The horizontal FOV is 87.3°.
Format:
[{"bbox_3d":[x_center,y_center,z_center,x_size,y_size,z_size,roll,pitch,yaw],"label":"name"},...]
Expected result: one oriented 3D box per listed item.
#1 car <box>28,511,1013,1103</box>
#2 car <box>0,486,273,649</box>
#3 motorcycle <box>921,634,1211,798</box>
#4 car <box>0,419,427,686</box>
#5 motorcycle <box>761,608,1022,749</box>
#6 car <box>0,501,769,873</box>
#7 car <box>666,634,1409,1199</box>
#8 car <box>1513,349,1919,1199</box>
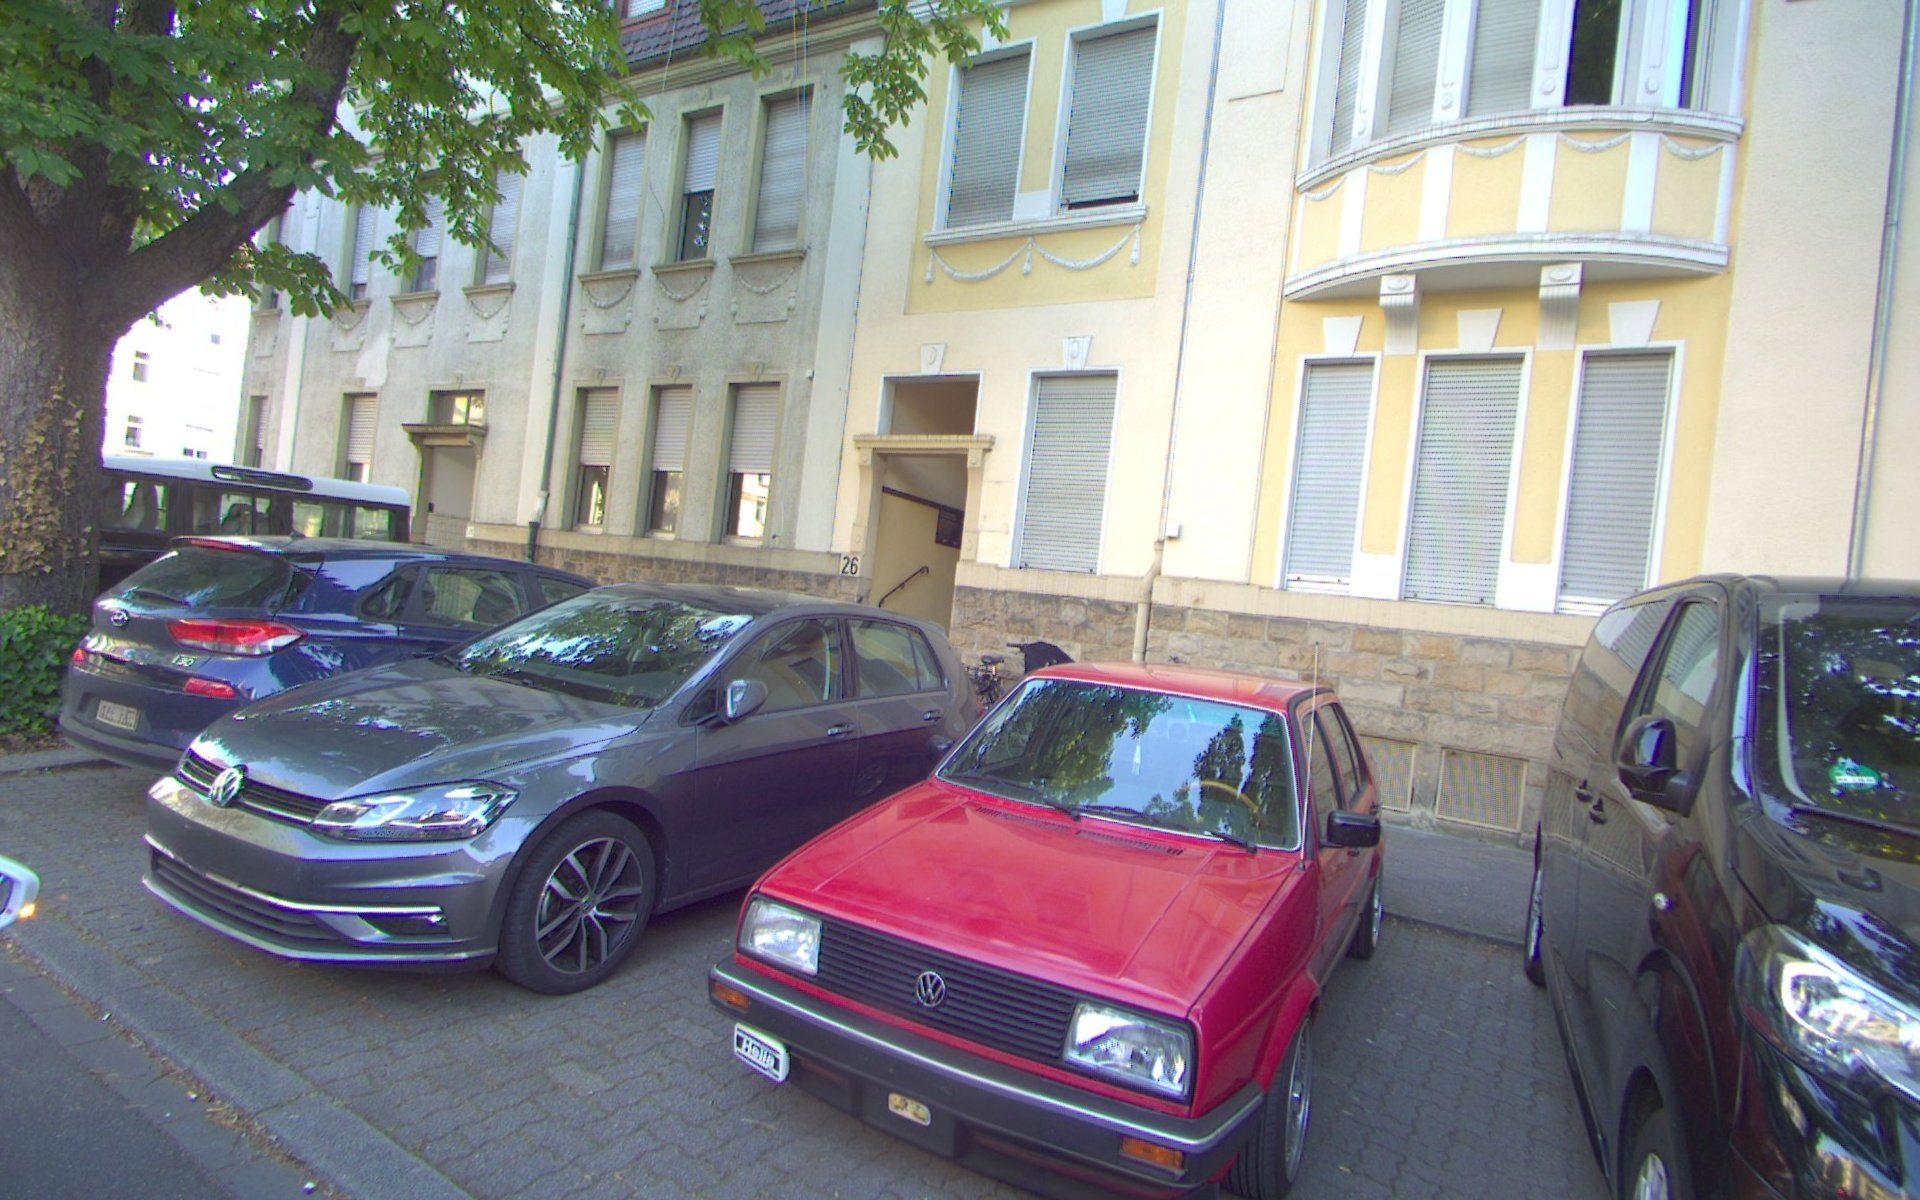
[{"bbox_3d":[-1.435,0.627,4.822,1.693,1.470,4.060,6,0,28],"label":"car"},{"bbox_3d":[-9.990,-0.380,10.942,1.679,1.589,3.730,6,0,28],"label":"car"},{"bbox_3d":[0.953,1.004,9.400,2.439,1.087,0.959,7,2,32],"label":"motorcycle"},{"bbox_3d":[-7.595,-0.363,9.242,1.671,2.061,4.473,6,0,28],"label":"car"},{"bbox_3d":[-0.793,0.783,10.790,2.822,1.087,0.694,7,2,31],"label":"motorcycle"},{"bbox_3d":[-3.088,0.431,6.204,1.679,1.470,3.730,6,0,28],"label":"car"},{"bbox_3d":[0.872,0.952,4.310,1.601,1.332,4.144,6,0,27],"label":"car"},{"bbox_3d":[2.849,0.876,2.883,1.864,1.898,4.759,6,0,27],"label":"car"}]
